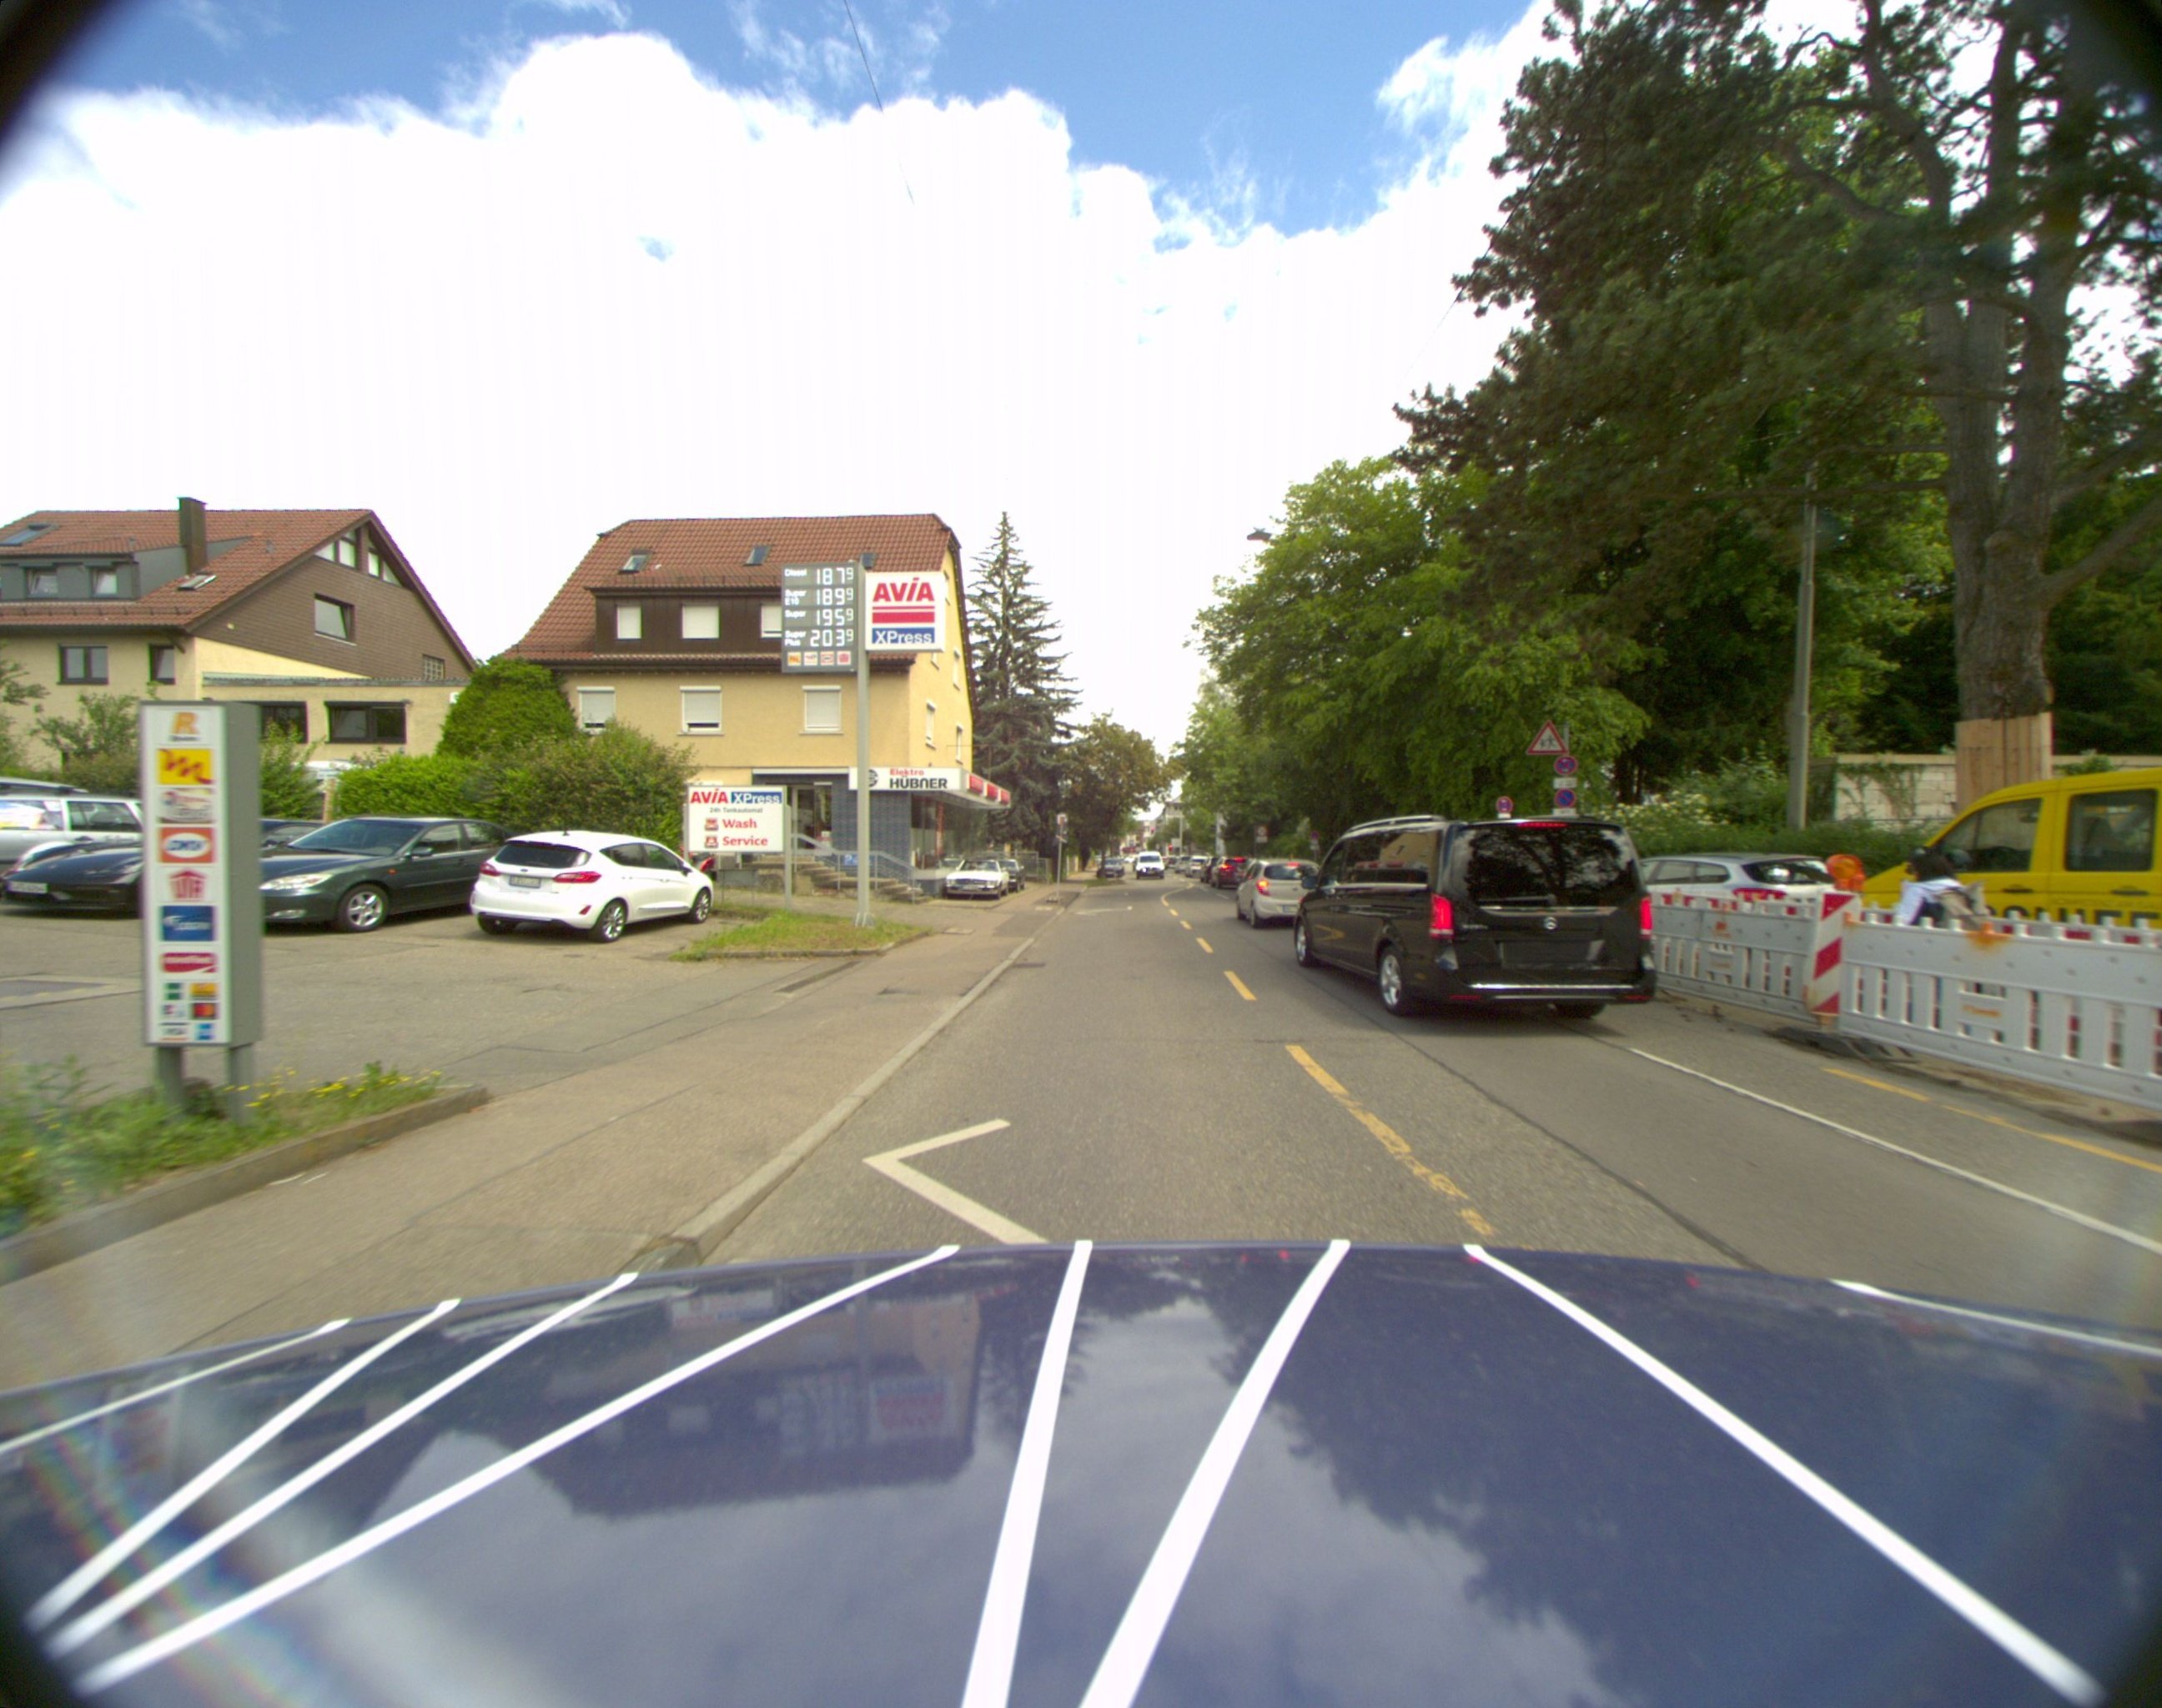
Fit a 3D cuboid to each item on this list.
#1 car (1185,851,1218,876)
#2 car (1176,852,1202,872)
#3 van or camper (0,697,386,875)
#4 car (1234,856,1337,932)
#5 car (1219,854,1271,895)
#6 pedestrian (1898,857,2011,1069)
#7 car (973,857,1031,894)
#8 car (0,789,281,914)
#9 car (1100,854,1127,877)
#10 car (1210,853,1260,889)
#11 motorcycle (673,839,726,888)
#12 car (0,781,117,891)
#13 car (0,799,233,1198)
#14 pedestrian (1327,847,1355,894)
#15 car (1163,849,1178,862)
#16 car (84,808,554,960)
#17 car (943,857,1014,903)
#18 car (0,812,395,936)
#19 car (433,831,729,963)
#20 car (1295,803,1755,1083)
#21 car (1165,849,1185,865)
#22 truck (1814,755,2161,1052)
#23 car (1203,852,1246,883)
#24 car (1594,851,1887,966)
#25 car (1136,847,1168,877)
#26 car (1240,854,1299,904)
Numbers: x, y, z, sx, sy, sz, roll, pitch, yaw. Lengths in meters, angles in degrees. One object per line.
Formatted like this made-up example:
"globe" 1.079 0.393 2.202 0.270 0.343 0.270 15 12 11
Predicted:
"car" 8.503 0.609 53.852 1.761 1.581 4.004 2 1 2
"car" 9.416 0.664 66.589 1.761 1.581 4.162 2 1 2
"van or camper" -17.760 -1.267 14.778 5.974 2.834 2.531 4 1 0
"car" 4.425 0.820 16.930 1.618 1.514 3.571 0 -1 5
"car" 6.617 0.804 30.980 1.618 1.514 3.571 1 0 5
"pedestrian" 7.010 0.826 6.125 0.538 1.592 0.570 -3 2 -43
"car" -3.132 0.820 30.919 1.789 1.276 4.316 1 1 2
"car" -14.735 -0.098 11.299 1.641 1.576 3.746 4 1 0
"car" 2.406 0.823 56.374 1.938 1.483 4.023 -2 1 2
"car" 7.330 0.772 36.504 1.780 1.547 4.002 2 1 4
"motorcycle" -11.278 0.254 22.529 0.402 1.305 1.907 6 4 4
"car" -17.348 -0.300 11.002 1.571 1.673 4.047 4 1 0
"car" -5.380 0.572 1.863 1.618 1.587 4.161 6 1 6
"pedestrian" 10.298 0.641 30.093 0.835 1.837 1.022 -1 1 6
"car" 11.838 0.205 100.913 1.618 1.581 4.162 2 1 2
"car" -9.870 0.282 10.542 1.716 1.533 4.656 4 1 1
"car" -3.392 0.819 25.871 1.789 1.309 4.480 1 1 0
"car" -12.318 0.197 10.815 1.640 1.364 3.746 4 1 0
"car" -7.164 0.492 11.506 1.638 1.520 4.203 4 1 0
"car" 3.779 0.629 7.754 1.913 1.940 4.914 0 0 1
"car" 10.337 0.343 83.528 1.761 1.581 4.162 2 1 2
"truck" 9.923 0.381 6.189 2.311 2.406 6.094 -1 1 4
"car" 7.983 0.693 42.539 1.761 1.581 3.970 1 1 2
"car" 9.956 0.721 11.881 1.627 1.499 3.584 -1 0 4
"car" 4.714 0.507 50.943 1.965 1.796 4.429 -2 1 3
"car" 6.445 0.790 26.289 1.822 1.514 4.564 0 1 12
